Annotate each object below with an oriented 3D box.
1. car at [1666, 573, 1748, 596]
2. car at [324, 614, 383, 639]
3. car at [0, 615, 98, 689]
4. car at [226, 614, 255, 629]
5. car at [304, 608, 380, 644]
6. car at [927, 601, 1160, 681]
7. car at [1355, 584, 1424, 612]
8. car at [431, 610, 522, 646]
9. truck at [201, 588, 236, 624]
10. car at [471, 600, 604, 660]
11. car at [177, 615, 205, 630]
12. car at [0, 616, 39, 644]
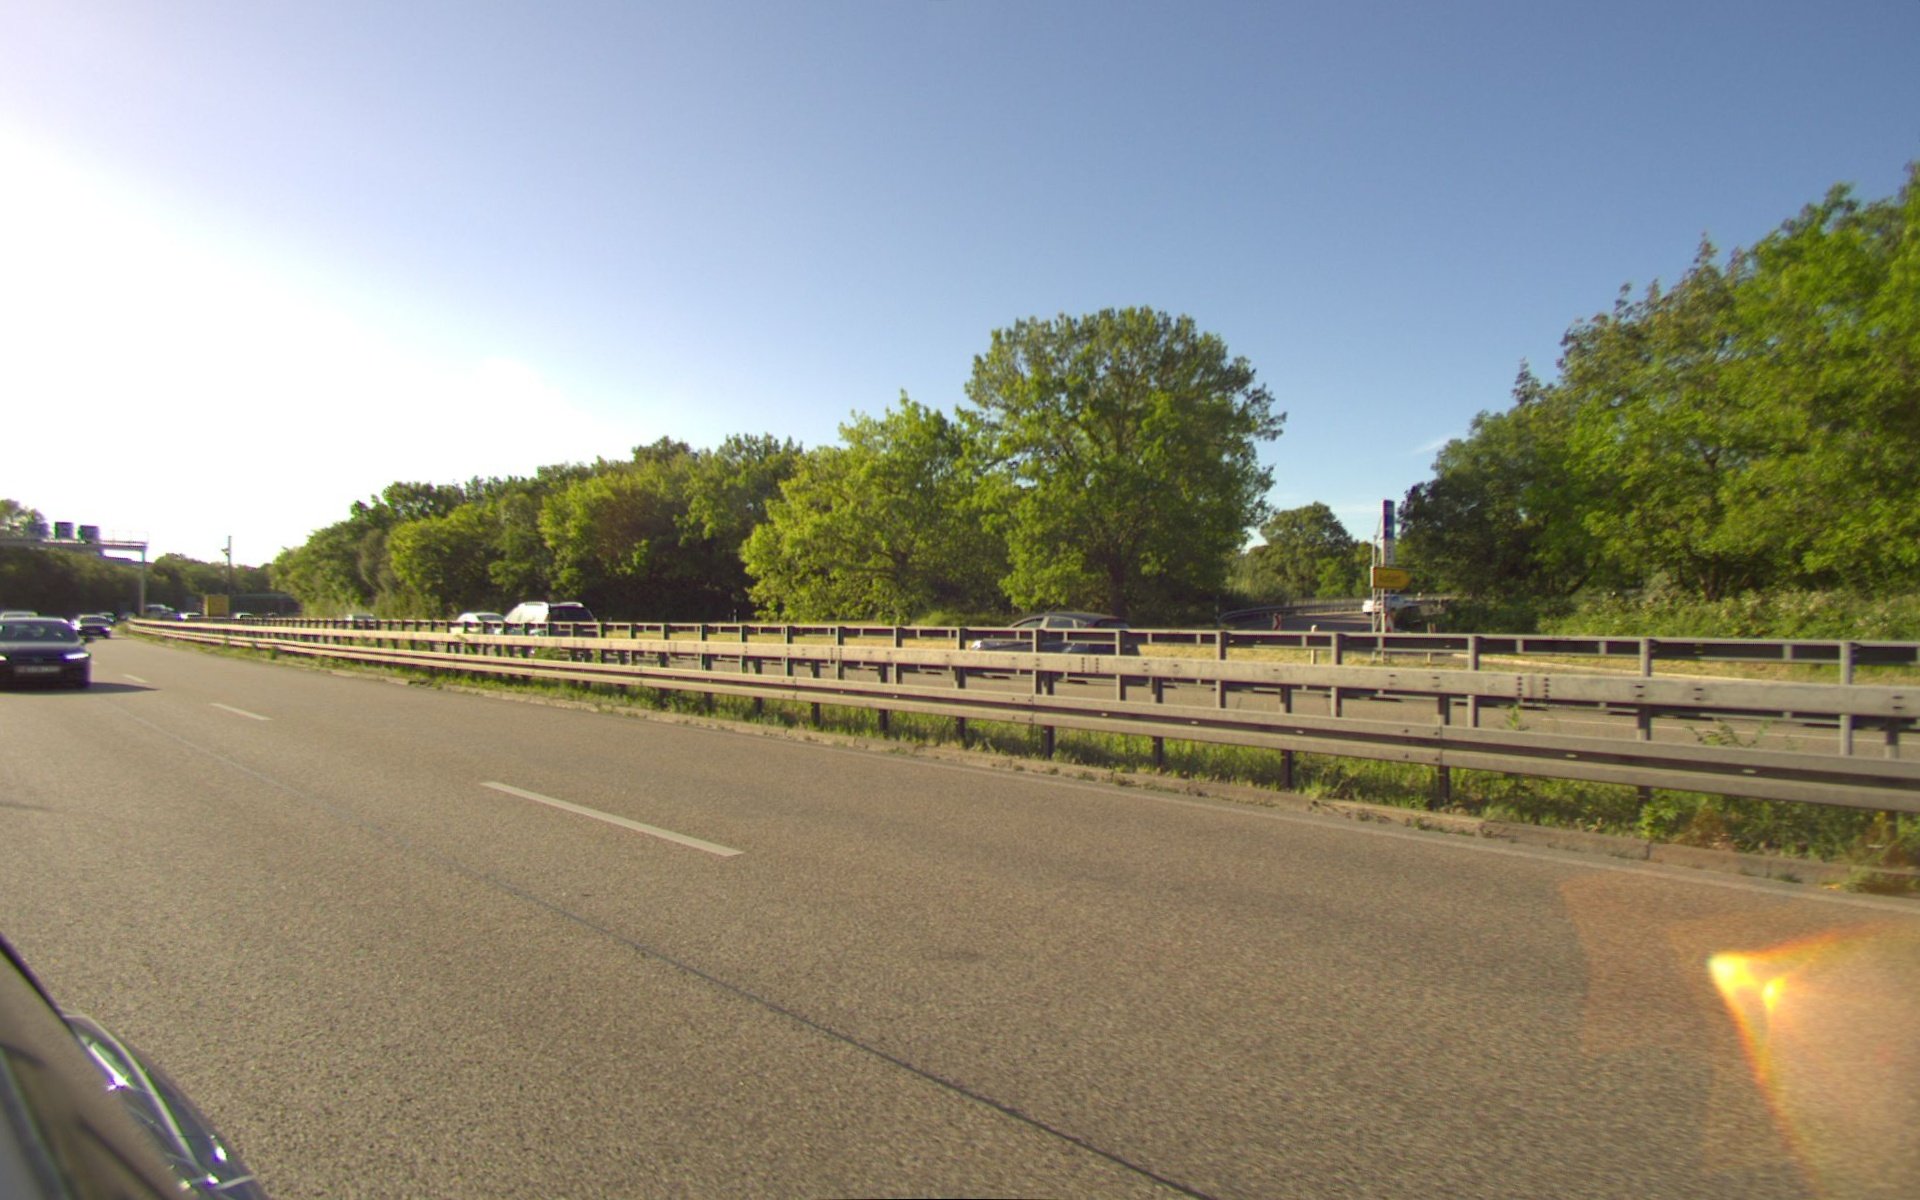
[{"bbox_3d":[57.684,-1.184,78.259,4.663,1.653,1.996,-1,0,6],"label":"car"},{"bbox_3d":[-37.099,1.604,61.901,4.833,1.425,1.971,-1,0,45],"label":"car"},{"bbox_3d":[-19.888,1.035,21.520,4.833,1.425,1.971,-1,-2,45],"label":"car"},{"bbox_3d":[-72.350,2.167,101.722,1.969,1.425,4.838,-1,0,-41],"label":"car"},{"bbox_3d":[-29.949,1.238,49.014,4.721,1.653,1.972,-1,0,43],"label":"car"},{"bbox_3d":[1.662,0.798,21.409,4.721,1.489,1.972,-1,0,43],"label":"car"},{"bbox_3d":[28.672,-0.152,67.555,4.641,1.817,2.005,-1,0,-33],"label":"car"},{"bbox_3d":[-21.097,1.195,44.099,4.831,1.425,1.972,-1,0,43],"label":"car"},{"bbox_3d":[-96.961,0.764,132.266,3.125,4.453,8.033,-2,1,-39],"label":"truck"},{"bbox_3d":[-12.870,0.873,30.691,4.721,1.653,1.972,-1,0,43],"label":"car"},{"bbox_3d":[-77.301,2.233,101.705,1.969,1.425,4.838,-1,0,-41],"label":"car"},{"bbox_3d":[-51.179,1.606,54.659,1.970,1.425,4.834,-1,0,-44],"label":"car"}]
